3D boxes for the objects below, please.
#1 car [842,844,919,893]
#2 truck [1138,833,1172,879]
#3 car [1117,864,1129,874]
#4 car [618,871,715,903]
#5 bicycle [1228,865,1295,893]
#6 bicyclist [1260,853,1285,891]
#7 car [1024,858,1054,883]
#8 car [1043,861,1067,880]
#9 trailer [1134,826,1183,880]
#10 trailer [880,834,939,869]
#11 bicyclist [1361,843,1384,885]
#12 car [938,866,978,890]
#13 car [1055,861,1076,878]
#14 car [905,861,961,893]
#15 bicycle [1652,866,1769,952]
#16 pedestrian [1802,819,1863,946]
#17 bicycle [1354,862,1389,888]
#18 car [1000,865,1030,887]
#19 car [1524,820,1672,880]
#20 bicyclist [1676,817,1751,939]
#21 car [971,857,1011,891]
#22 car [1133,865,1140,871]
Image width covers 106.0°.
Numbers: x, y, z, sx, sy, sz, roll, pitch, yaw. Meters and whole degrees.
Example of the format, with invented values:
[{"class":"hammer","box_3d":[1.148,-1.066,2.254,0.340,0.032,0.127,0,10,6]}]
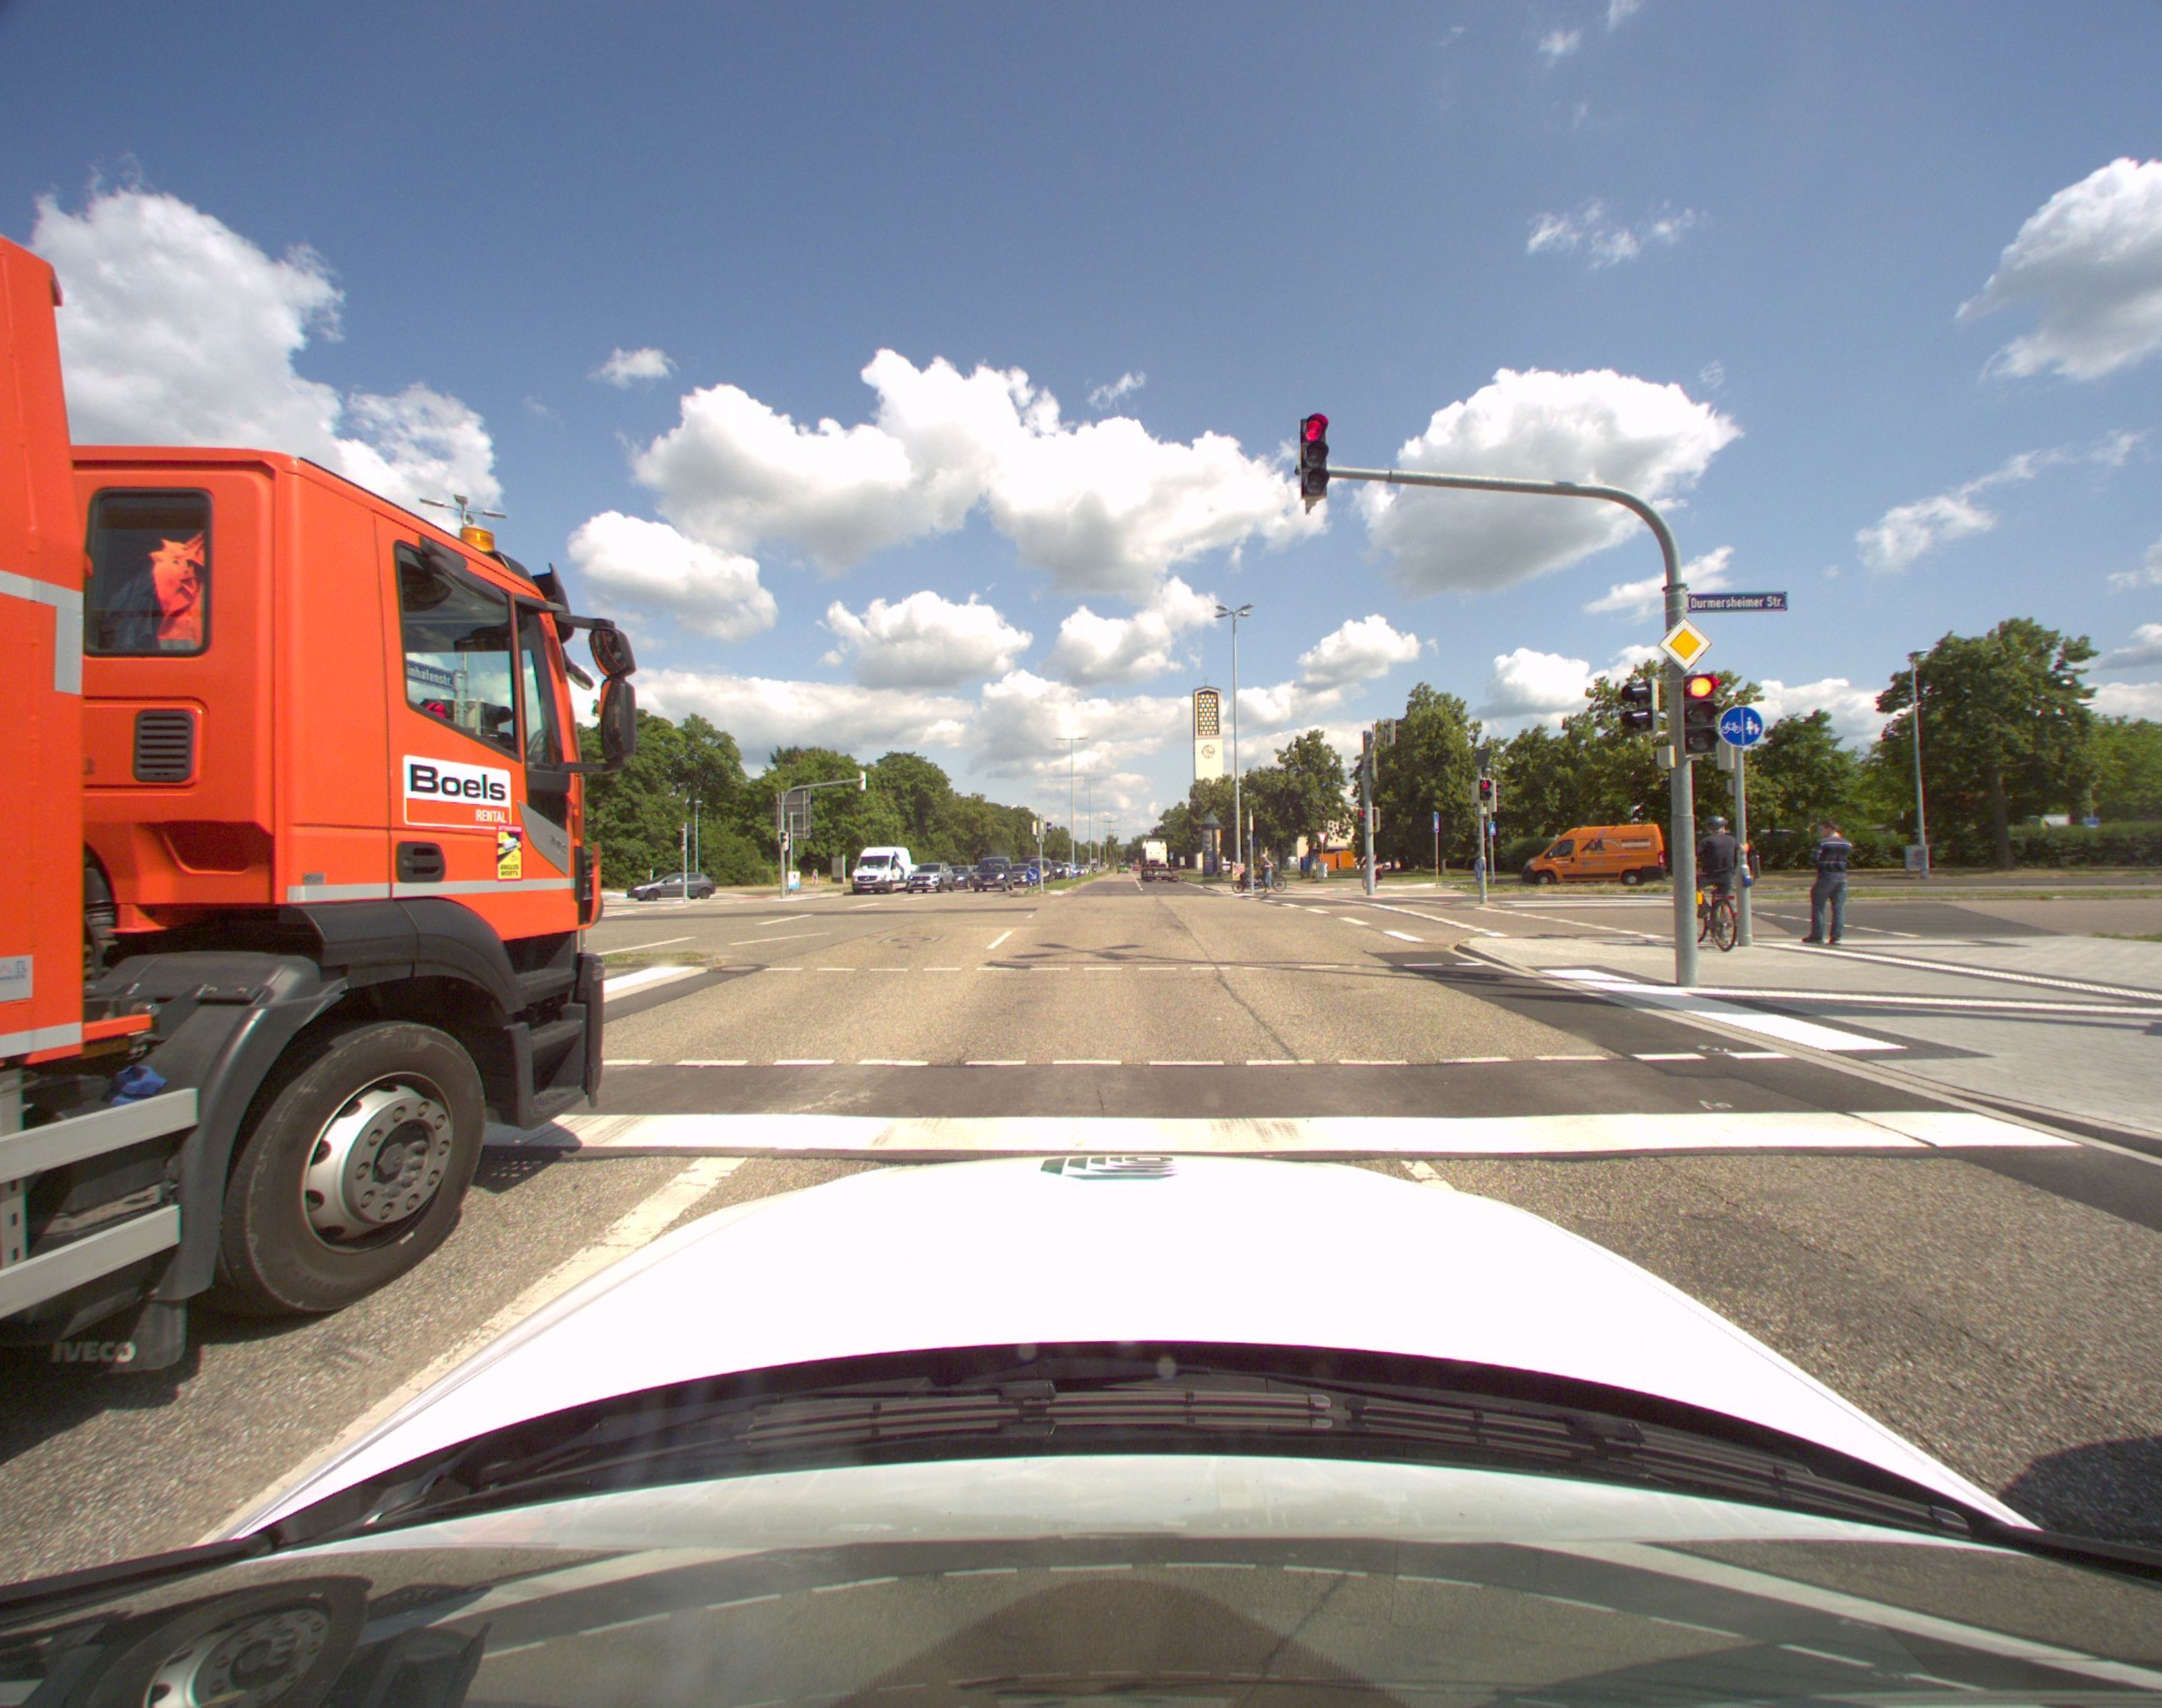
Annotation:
[{"class":"car","box_3d":[-10.958,0.803,45.121,2.163,2.471,5.977,1,-1,6]},{"class":"truck","box_3d":[6.881,0.241,75.144,2.944,3.971,8.651,-1,-1,6]},{"class":"car","box_3d":[7.152,2.534,138.489,1.986,1.552,4.001,1,-1,2]},{"class":"car","box_3d":[-21.412,1.676,42.124,1.975,1.530,4.023,0,-1,44]},{"class":"bicycle","box_3d":[7.691,1.052,34.746,2.844,1.112,0.791,-1,0,-22]},{"class":"bicyclist","box_3d":[8.206,0.757,34.955,0.701,1.616,0.791,0,-1,-22]},{"class":"car","box_3d":[-2.903,1.143,57.494,1.728,1.660,4.233,1,0,2]},{"class":"car","box_3d":[-2.234,1.430,71.076,1.728,1.660,4.232,1,-1,2]},{"class":"trailer","box_3d":[6.459,0.043,67.185,3.602,4.012,11.337,-1,-1,6]},{"class":"trailer","box_3d":[-10.597,-0.123,50.756,2.114,2.014,5.169,1,-1,6]},{"class":"bicyclist","box_3d":[12.829,0.451,35.824,0.677,1.804,0.794,-1,-1,43]},{"class":"car","box_3d":[-7.348,1.414,49.029,1.757,1.352,3.520,-1,-1,2]},{"class":"car","box_3d":[-1.554,1.605,82.551,1.727,1.660,4.234,1,-1,3]},{"class":"car","box_3d":[-7.716,1.182,42.918,1.726,1.543,4.316,1,-1,6]},{"class":"bicycle","box_3d":[8.924,0.740,11.637,0.643,1.108,1.936,1,-1,16]},{"class":"pedestrian","box_3d":[10.760,0.402,11.670,0.461,1.779,0.483,1,-1,11]},{"class":"bicycle","box_3d":[12.756,0.911,35.740,0.677,1.093,2.015,-1,-1,42]},{"class":"car","box_3d":[-4.006,1.339,50.087,1.563,1.316,3.431,1,-1,0]},{"class":"car","box_3d":[20.614,-0.127,32.561,4.797,2.226,2.225,0,-1,38]},{"class":"bicyclist","box_3d":[8.878,0.325,11.456,0.643,1.661,0.653,1,-1,16]},{"class":"car","box_3d":[-4.575,0.999,41.764,1.730,1.660,4.226,1,-1,-3]},{"class":"car","box_3d":[15.931,4.046,234.274,1.986,1.552,4.001,1,-1,2]}]
